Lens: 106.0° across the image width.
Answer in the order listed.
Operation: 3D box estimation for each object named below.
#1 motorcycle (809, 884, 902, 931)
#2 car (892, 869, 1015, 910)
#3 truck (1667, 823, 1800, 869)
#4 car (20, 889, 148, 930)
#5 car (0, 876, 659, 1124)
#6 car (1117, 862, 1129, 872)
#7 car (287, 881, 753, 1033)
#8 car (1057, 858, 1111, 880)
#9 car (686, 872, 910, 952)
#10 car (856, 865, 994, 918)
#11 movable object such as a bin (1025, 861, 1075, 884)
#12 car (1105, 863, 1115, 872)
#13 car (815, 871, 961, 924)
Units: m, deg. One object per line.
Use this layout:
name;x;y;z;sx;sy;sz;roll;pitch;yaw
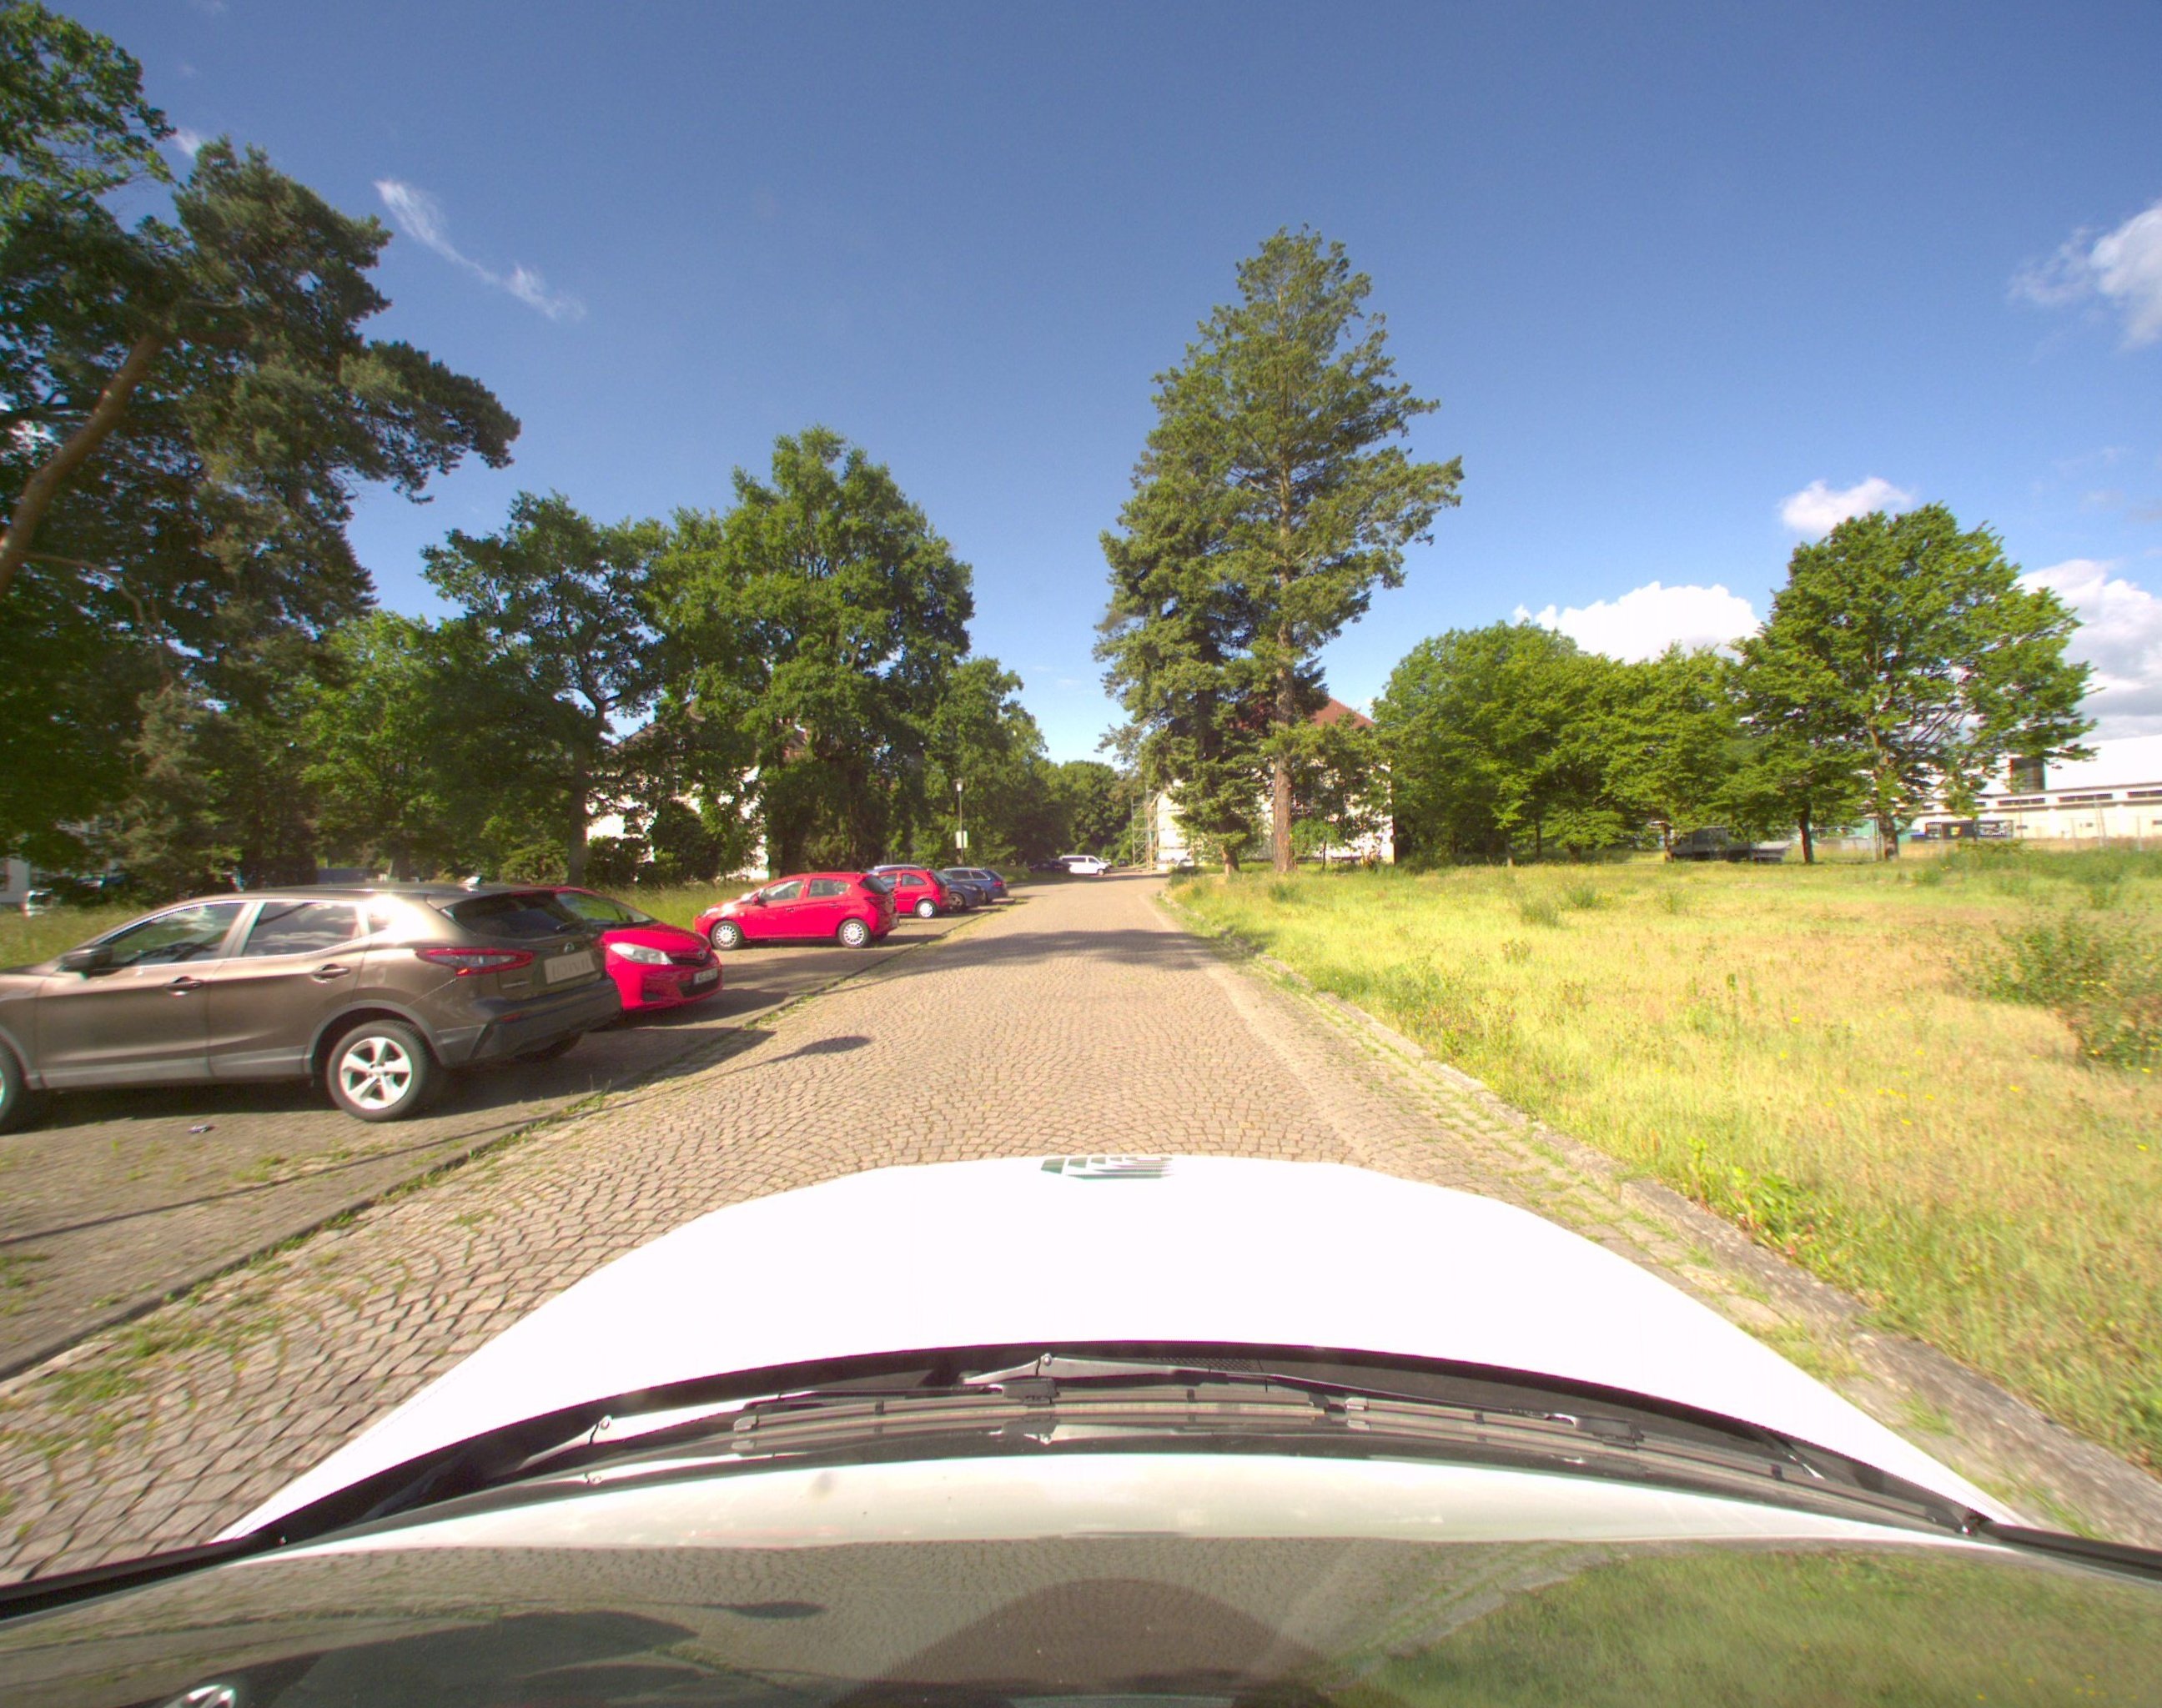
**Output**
motorcycle;-5.862;1.384;21.237;2.233;1.162;0.577;-1;-1;2
car;-4.907;1.362;31.697;4.340;1.445;1.923;-1;0;4
truck;37.288;-0.366;46.873;2.225;2.424;6.886;0;-1;1
car;-67.446;3.695;55.257;1.976;2.437;5.280;-2;-1;2
car;-5.825;0.997;6.414;3.940;1.568;1.974;0;0;0
car;7.617;2.318;146.702;1.964;1.668;4.087;-2;-1;1
car;-6.031;1.070;9.150;3.910;1.449;1.866;0;0;0
car;0.321;1.467;80.505;5.216;2.016;1.950;-2;-1;1
car;-5.684;1.153;16.741;3.910;1.461;1.842;-1;0;0
car;-5.107;1.218;27.018;4.120;1.579;1.885;-1;0;1
movable object such as a bin;-2.530;1.495;67.455;3.535;1.745;2.035;-3;-1;20
car;5.215;2.461;146.444;1.806;1.579;4.135;-2;-1;1
car;-5.773;1.280;24.651;3.907;1.433;1.843;-1;0;2
